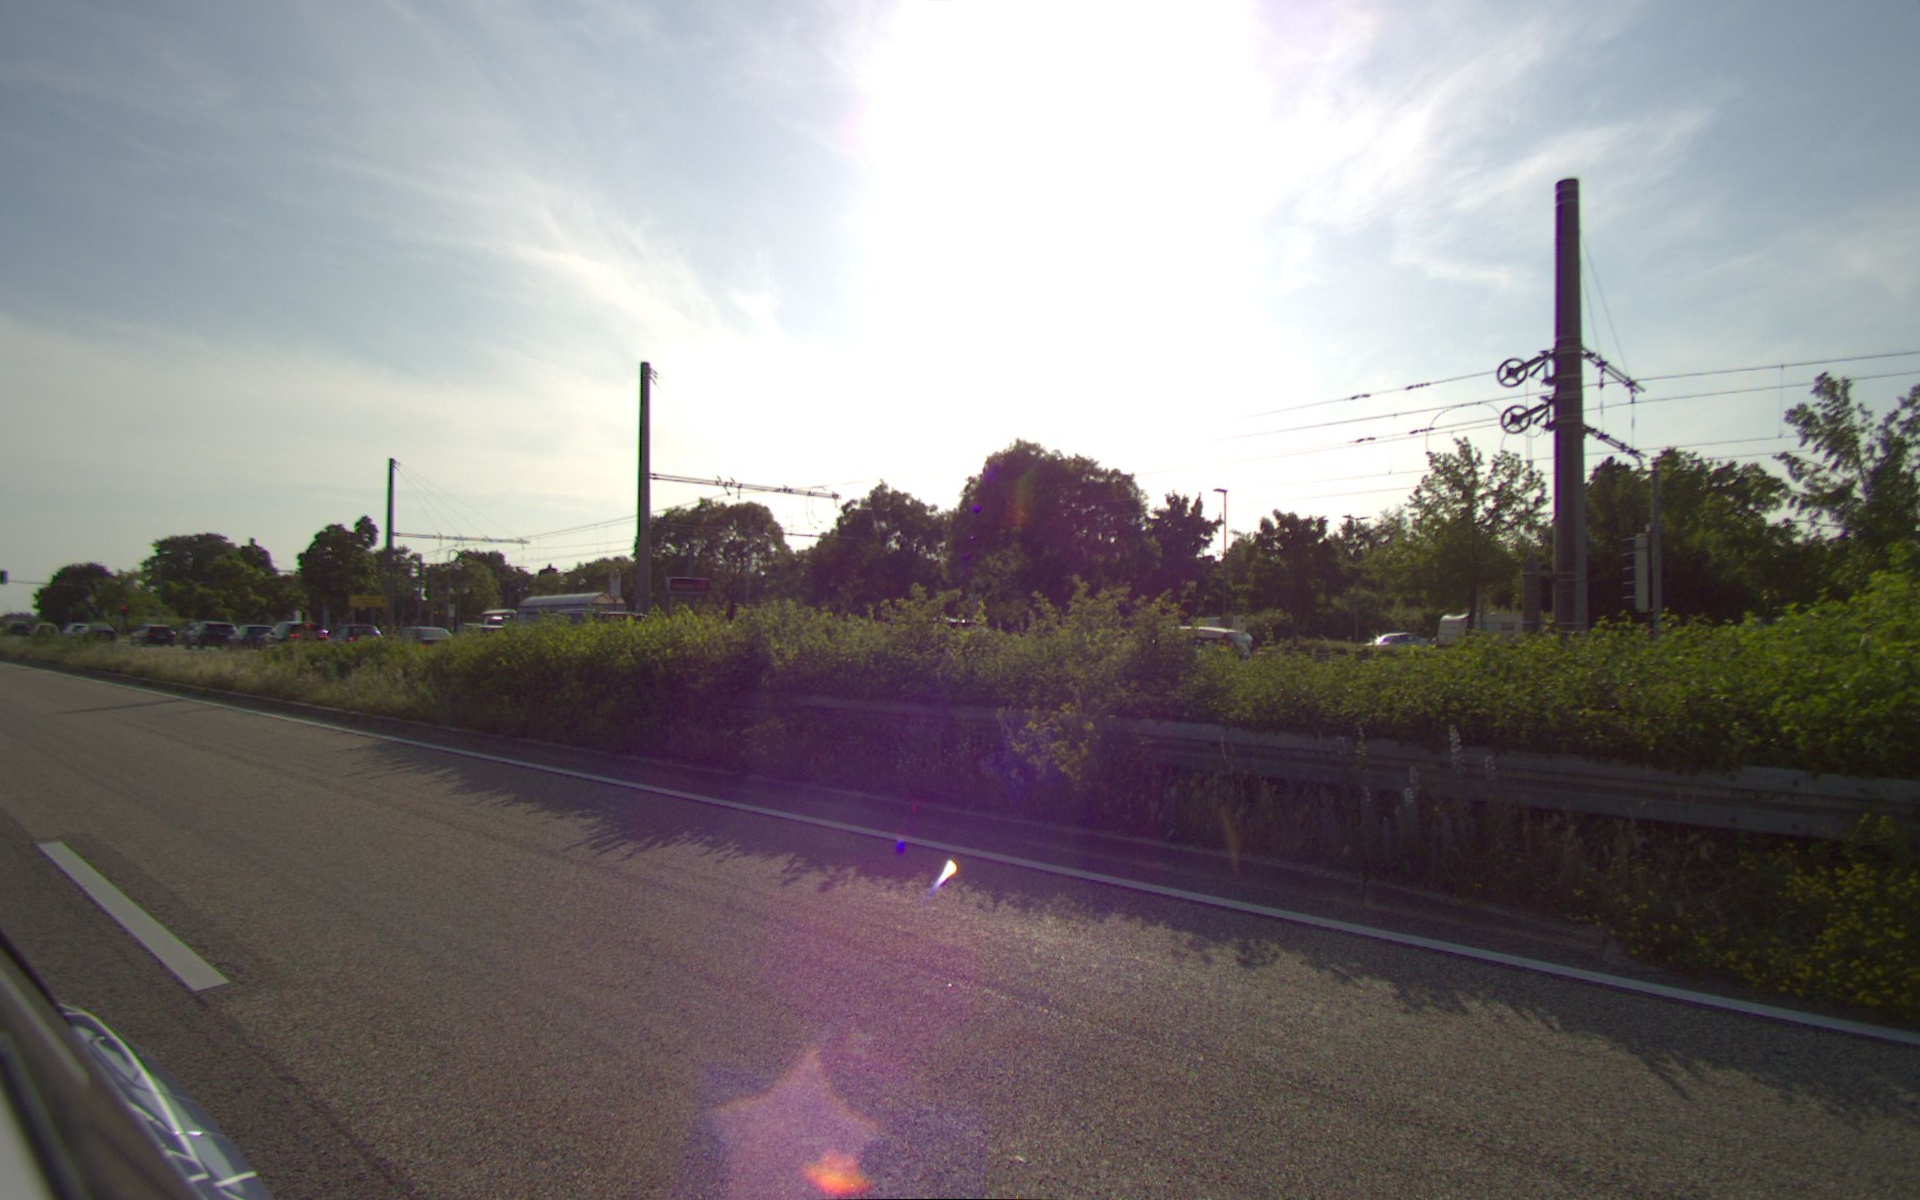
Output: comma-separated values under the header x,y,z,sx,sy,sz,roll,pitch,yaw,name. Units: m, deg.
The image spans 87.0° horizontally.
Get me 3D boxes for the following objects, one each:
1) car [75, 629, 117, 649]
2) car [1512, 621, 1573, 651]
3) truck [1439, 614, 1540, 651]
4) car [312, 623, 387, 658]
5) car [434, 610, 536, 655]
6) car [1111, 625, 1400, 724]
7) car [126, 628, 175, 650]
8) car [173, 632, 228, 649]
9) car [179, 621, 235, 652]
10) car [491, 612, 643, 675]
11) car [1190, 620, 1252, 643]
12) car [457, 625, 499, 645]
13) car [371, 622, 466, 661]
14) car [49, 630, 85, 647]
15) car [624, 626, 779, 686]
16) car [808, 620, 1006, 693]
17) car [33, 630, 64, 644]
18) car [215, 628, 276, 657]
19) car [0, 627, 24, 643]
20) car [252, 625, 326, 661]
x,y,z,sx,sy,sz,roll,pitch,yaw,name
-66.469,2.991,77.838,4.972,1.426,1.643,-1,-4,41,car
37.190,2.282,64.647,3.064,1.809,1.573,-1,0,-10,car
35.089,2.110,67.136,5.890,2.265,2.004,-1,0,-10,truck
-26.469,1.746,43.826,3.802,1.442,1.643,-1,-4,40,car
-16.463,1.127,35.029,4.054,1.442,1.643,-1,-4,41,car
4.805,1.167,16.834,4.323,1.442,1.643,-1,-4,41,car
-52.942,2.560,66.168,4.538,1.391,1.643,-1,-4,41,car
-90.994,4.851,121.271,2.249,1.901,4.788,-1,0,35,car
-43.481,2.092,58.433,4.226,1.700,1.643,-1,-4,41,car
-11.683,1.273,29.887,5.250,1.696,1.895,-1,-4,41,car
17.303,2.088,67.041,3.562,1.377,1.739,2,-4,-12,car
-49.317,3.613,103.646,1.822,1.892,3.648,-1,0,22,car
-21.279,1.629,39.706,4.714,1.442,1.643,-1,-4,41,car
-76.168,3.281,86.349,4.465,1.391,1.643,-1,-4,41,car
-6.815,1.429,26.472,4.445,1.442,1.643,-1,-4,41,car
-1.216,1.192,21.882,4.323,1.442,1.643,-1,-4,41,car
-88.256,3.580,98.002,3.997,1.391,1.643,-1,-4,41,car
-37.251,2.225,52.728,3.802,1.442,1.643,-1,-4,40,car
-103.498,3.804,110.251,3.997,1.602,1.778,-1,-4,40,car
-31.422,2.003,47.371,4.542,1.574,1.643,-1,-4,41,car
